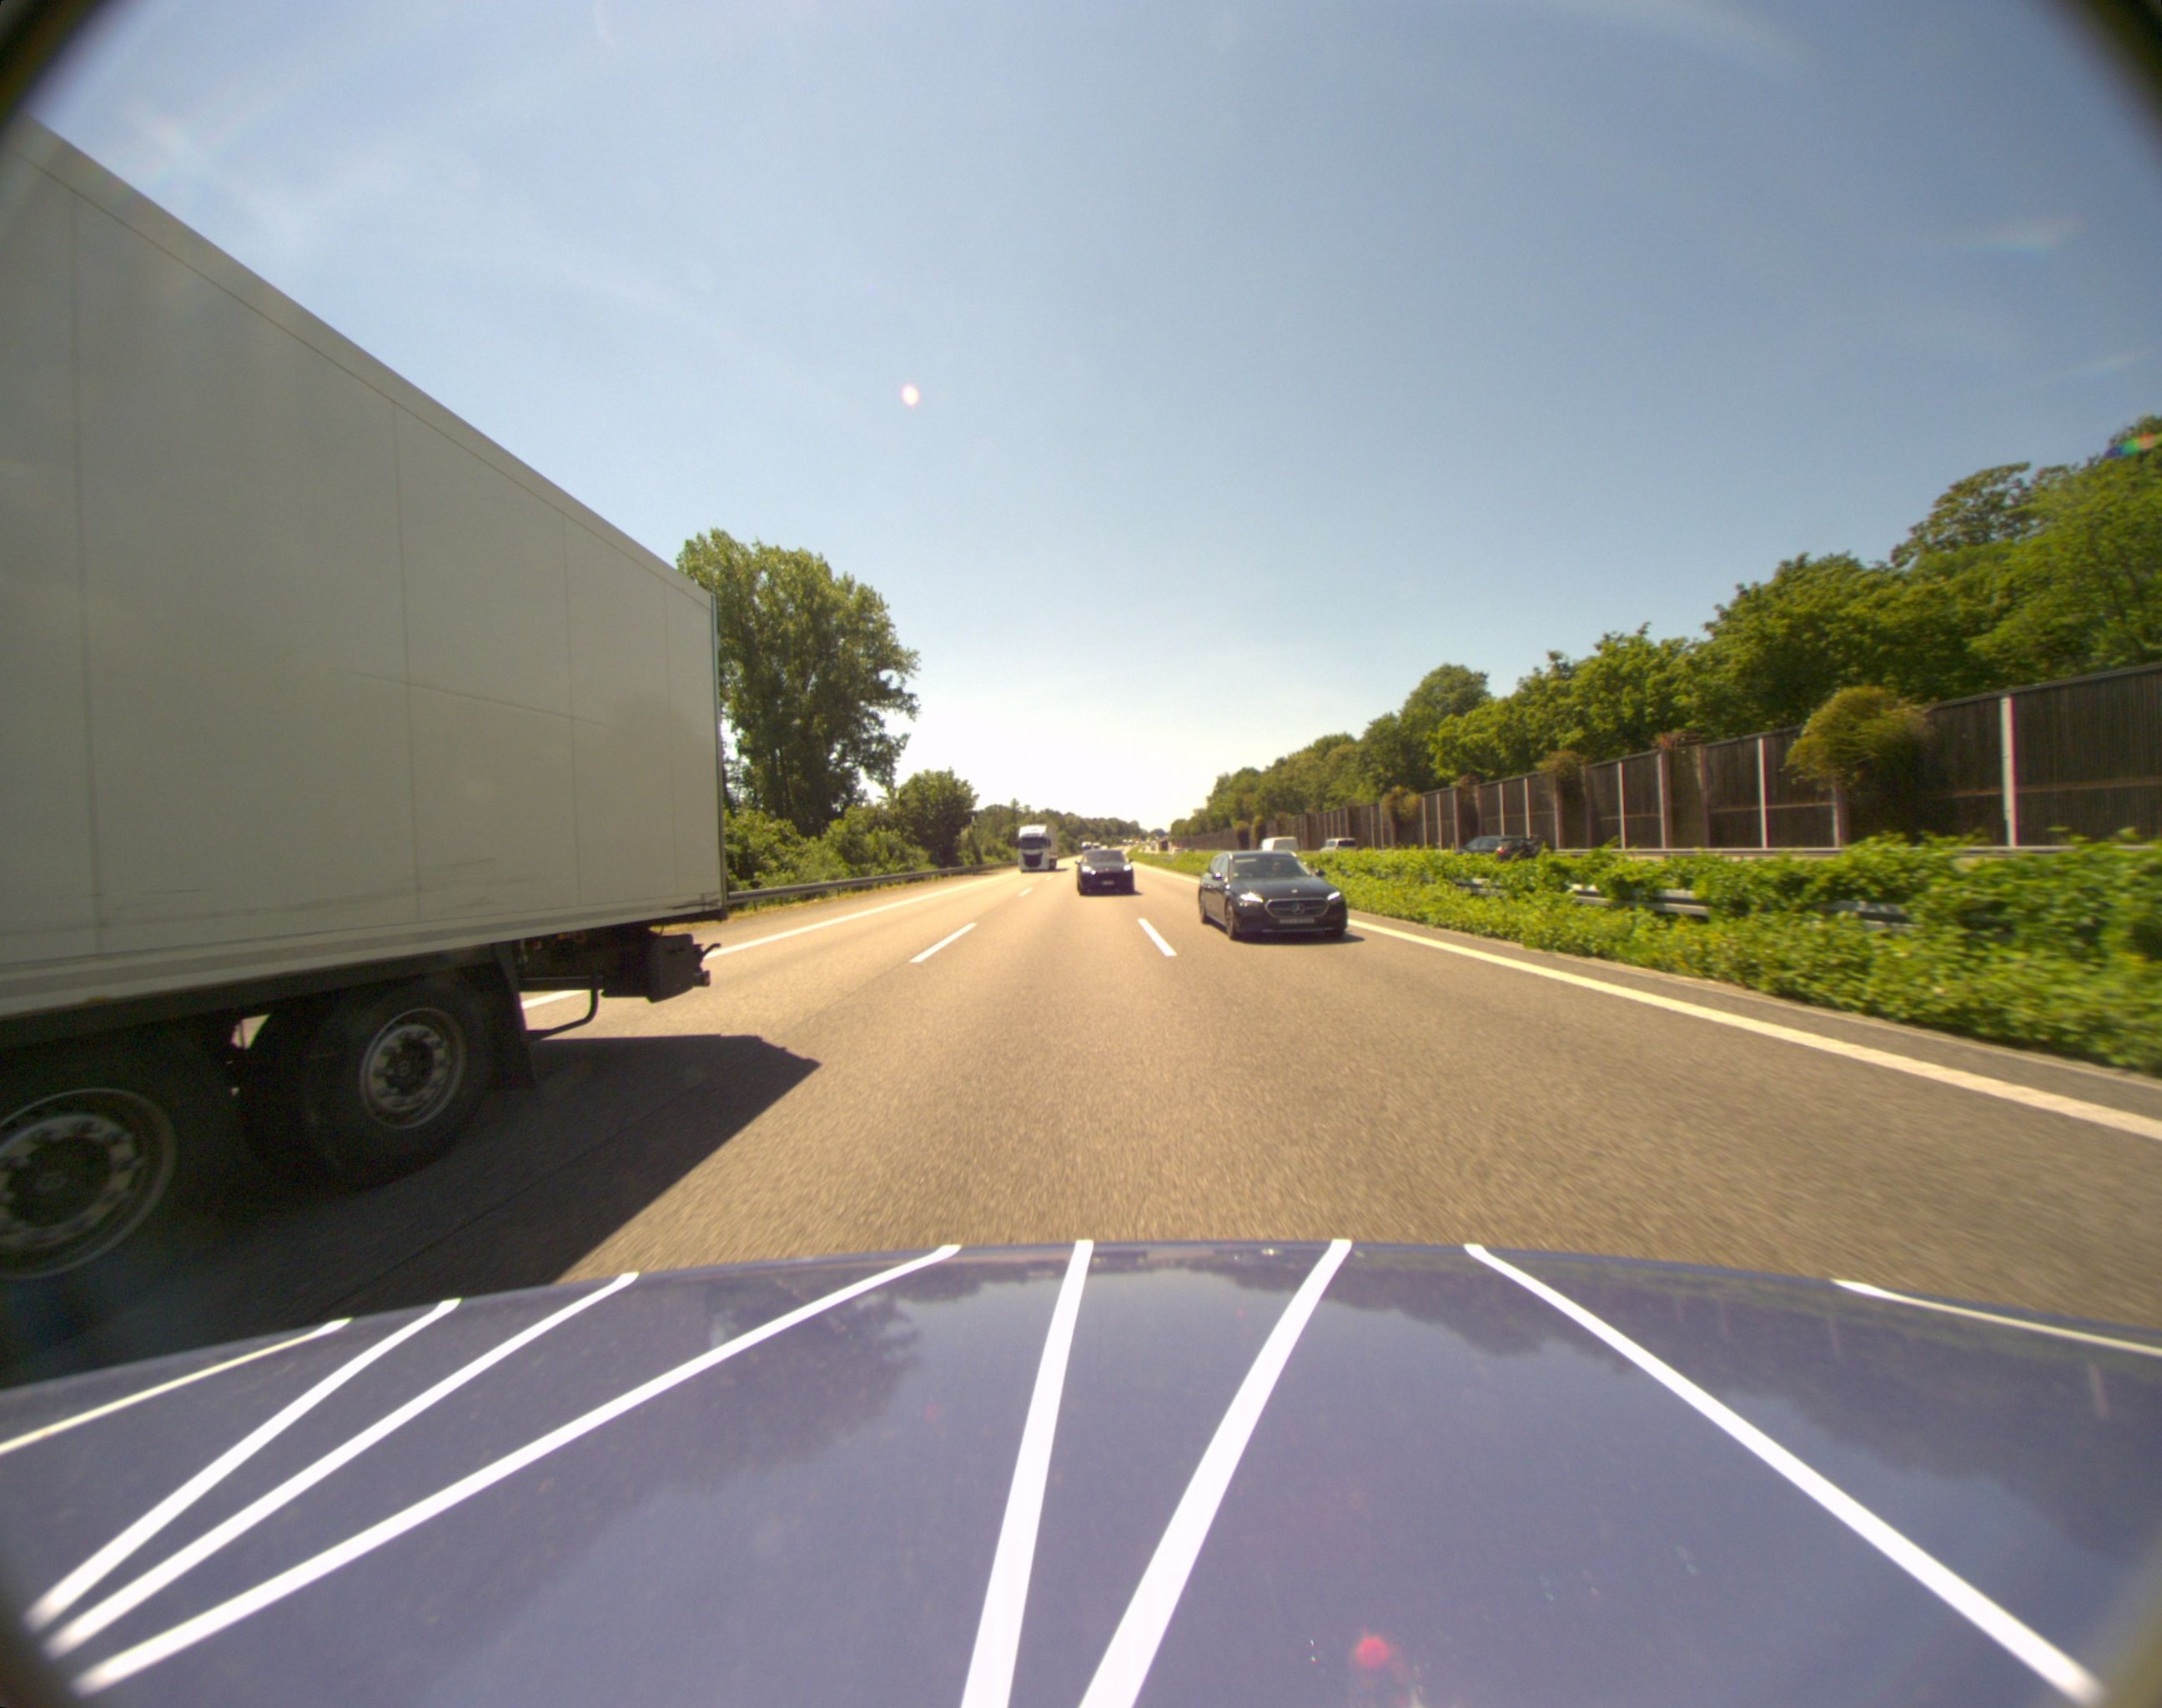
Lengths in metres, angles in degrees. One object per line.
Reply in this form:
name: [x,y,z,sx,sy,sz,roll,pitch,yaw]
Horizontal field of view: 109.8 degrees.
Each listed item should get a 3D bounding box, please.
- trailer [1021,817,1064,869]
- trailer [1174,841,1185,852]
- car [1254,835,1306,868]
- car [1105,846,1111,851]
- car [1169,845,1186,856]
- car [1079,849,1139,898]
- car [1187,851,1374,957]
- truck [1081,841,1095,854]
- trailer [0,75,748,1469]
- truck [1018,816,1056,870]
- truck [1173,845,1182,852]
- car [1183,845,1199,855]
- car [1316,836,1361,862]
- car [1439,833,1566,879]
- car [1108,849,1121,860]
trailer: [-3.544,-1.045,73.214,2.541,4.446,14.161,-2,1,3]
trailer: [26.472,-1.967,204.643,2.248,2.760,6.510,-2,0,2]
car: [13.198,-0.163,50.838,1.999,2.002,5.345,-2,0,0]
car: [8.564,-1.712,239.805,1.908,1.717,4.871,-2,1,4]
car: [15.267,-0.540,120.424,1.998,1.638,5.045,-2,0,0]
car: [1.112,0.663,29.356,2.048,1.616,5.772,-2,0,3]
car: [3.364,0.732,14.169,1.948,1.498,5.820,-2,0,0]
truck: [2.089,-1.839,219.140,3.073,3.618,12.403,-2,1,4]
trailer: [-4.648,-0.222,0.668,2.966,4.082,12.531,-2,0,0]
truck: [-3.836,-0.975,67.122,2.541,4.446,5.573,-2,1,3]
truck: [26.744,-1.529,211.021,2.106,1.805,6.211,-2,0,3]
car: [19.349,-0.646,133.752,1.999,1.638,4.691,-2,0,-2]
car: [21.542,-0.424,63.711,1.998,2.002,5.385,-2,0,1]
car: [16.888,0.063,30.888,1.999,1.634,5.585,-2,0,0]
car: [5.602,0.000,125.642,1.908,1.717,4.376,-2,1,4]
